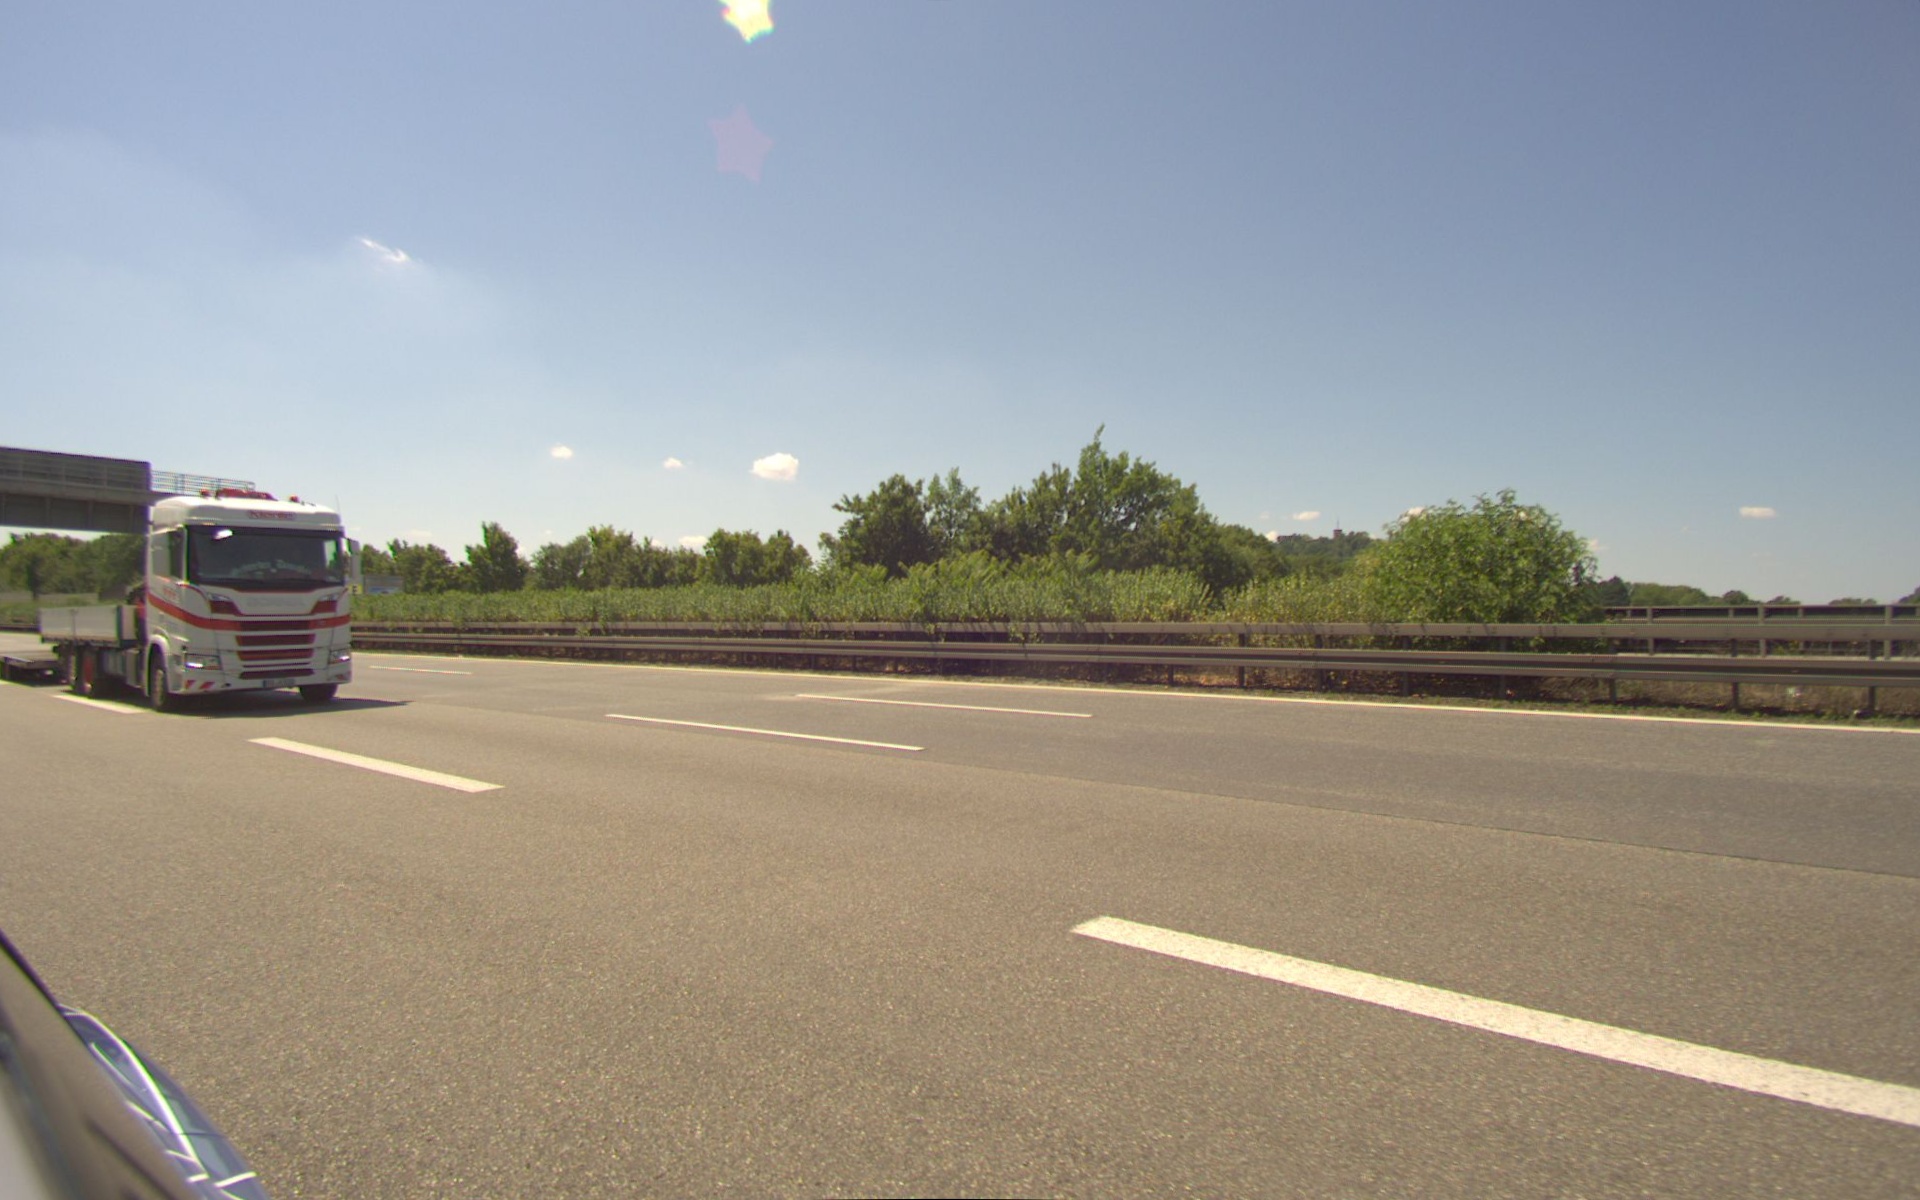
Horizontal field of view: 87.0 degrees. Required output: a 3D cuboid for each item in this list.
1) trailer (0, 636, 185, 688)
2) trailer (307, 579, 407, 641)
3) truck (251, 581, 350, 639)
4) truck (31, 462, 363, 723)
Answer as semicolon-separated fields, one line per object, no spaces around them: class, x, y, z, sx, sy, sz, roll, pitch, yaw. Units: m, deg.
trailer;-22.012;1.451;25.170;7.752;0.941;2.687;-1;0;40
trailer;-41.238;0.680;69.114;8.645;3.997;2.895;-1;-1;38
truck;-48.845;0.777;74.781;10.306;3.997;2.973;-1;-1;38
truck;-14.956;-0.069;19.318;10.661;3.831;2.687;-1;0;40
